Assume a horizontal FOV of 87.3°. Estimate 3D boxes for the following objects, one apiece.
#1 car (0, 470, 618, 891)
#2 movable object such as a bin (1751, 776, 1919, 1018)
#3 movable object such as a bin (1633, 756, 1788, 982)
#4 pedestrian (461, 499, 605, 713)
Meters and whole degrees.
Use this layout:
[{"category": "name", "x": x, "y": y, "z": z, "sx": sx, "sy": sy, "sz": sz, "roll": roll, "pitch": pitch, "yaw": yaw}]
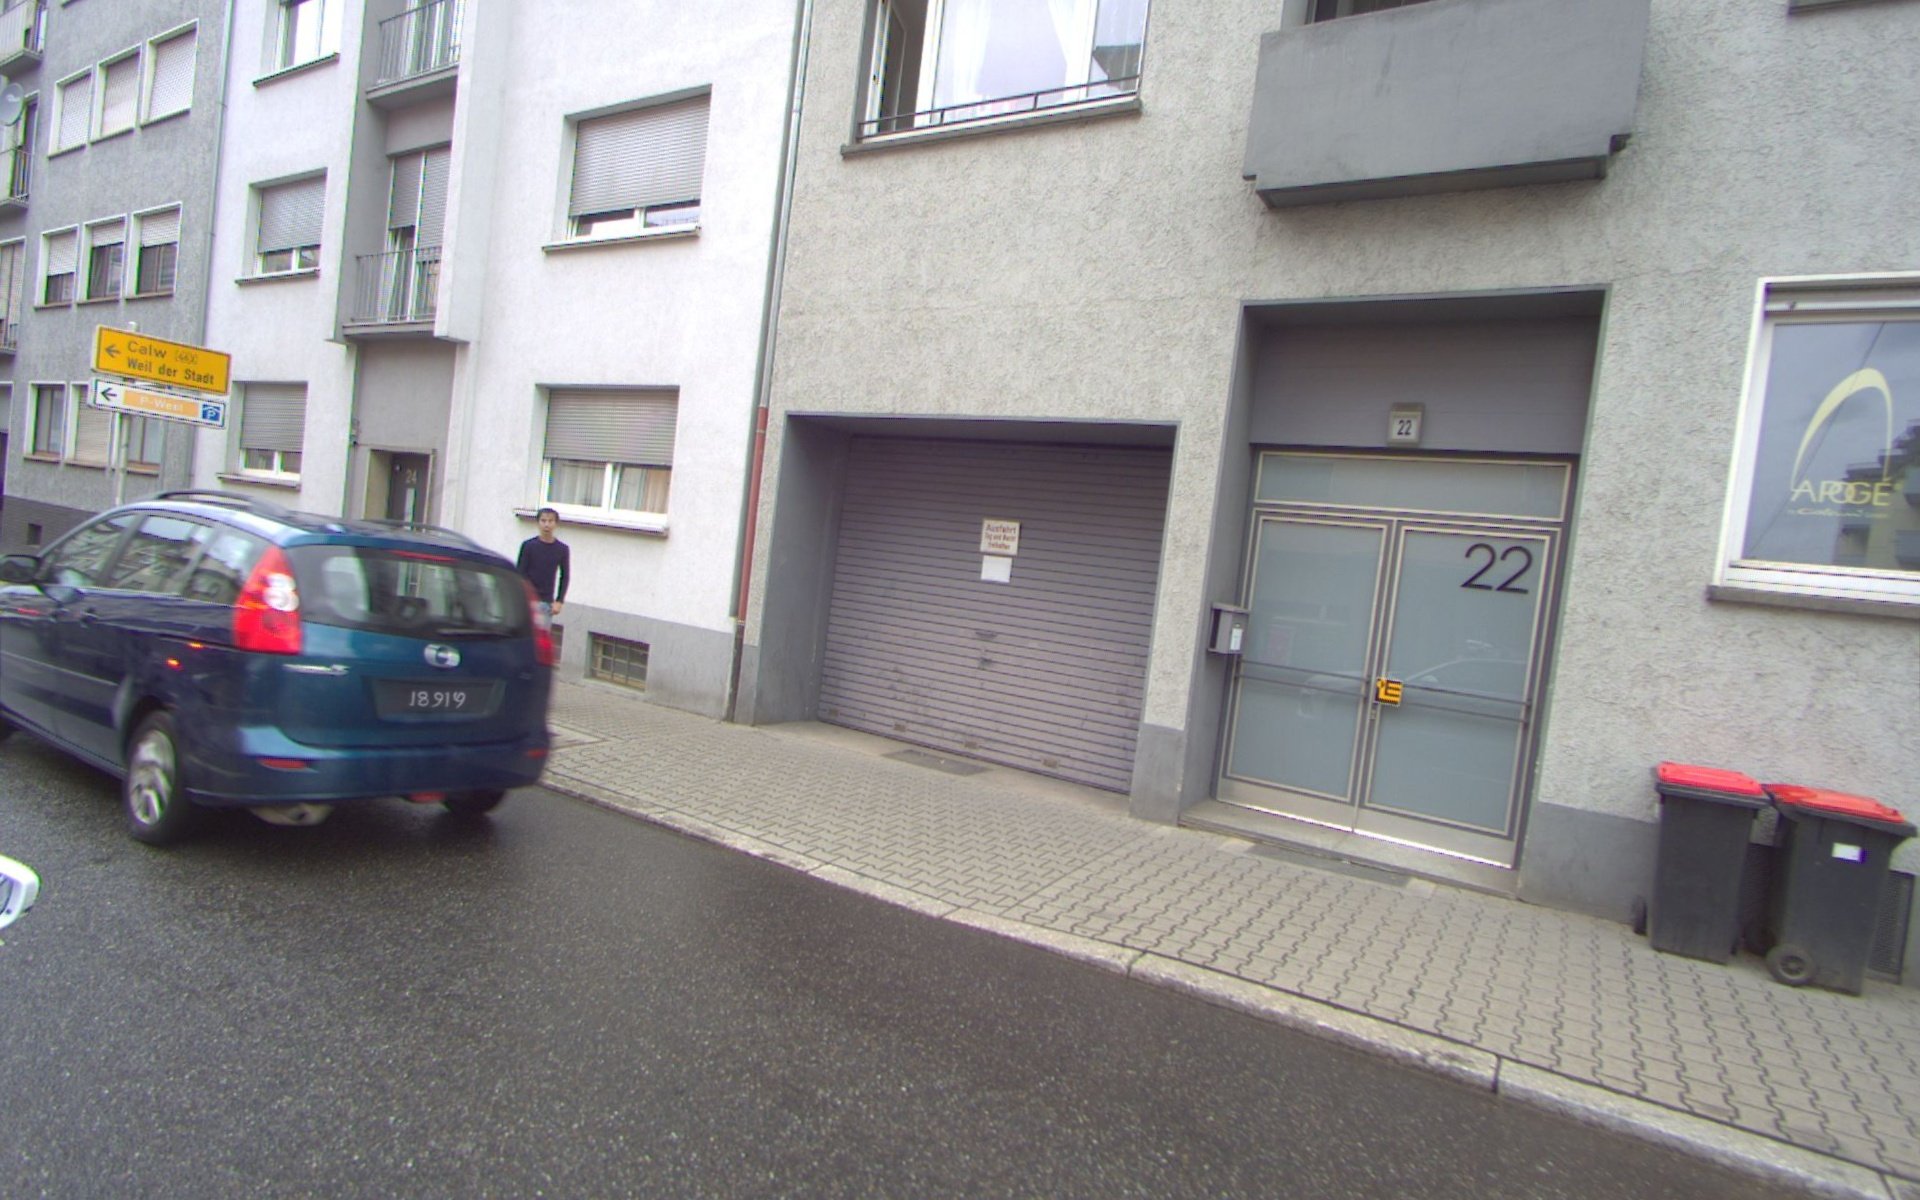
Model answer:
[{"category": "car", "x": -4.179, "y": 0.248, "z": 5.941, "sx": 4.144, "sy": 1.625, "sz": 1.810, "roll": 7, "pitch": -1, "yaw": 34}, {"category": "movable object such as a bin", "x": 4.331, "y": 1.428, "z": 4.970, "sx": 0.507, "sy": 0.963, "sz": 0.539, "roll": 7, "pitch": 4, "yaw": 32}, {"category": "movable object such as a bin", "x": 3.899, "y": 1.369, "z": 5.269, "sx": 0.507, "sy": 0.969, "sz": 0.539, "roll": 7, "pitch": 4, "yaw": 32}, {"category": "pedestrian", "x": -3.903, "y": 0.033, "z": 9.184, "sx": 1.039, "sy": 1.802, "sz": 0.643, "roll": 7, "pitch": 4, "yaw": 31}]
